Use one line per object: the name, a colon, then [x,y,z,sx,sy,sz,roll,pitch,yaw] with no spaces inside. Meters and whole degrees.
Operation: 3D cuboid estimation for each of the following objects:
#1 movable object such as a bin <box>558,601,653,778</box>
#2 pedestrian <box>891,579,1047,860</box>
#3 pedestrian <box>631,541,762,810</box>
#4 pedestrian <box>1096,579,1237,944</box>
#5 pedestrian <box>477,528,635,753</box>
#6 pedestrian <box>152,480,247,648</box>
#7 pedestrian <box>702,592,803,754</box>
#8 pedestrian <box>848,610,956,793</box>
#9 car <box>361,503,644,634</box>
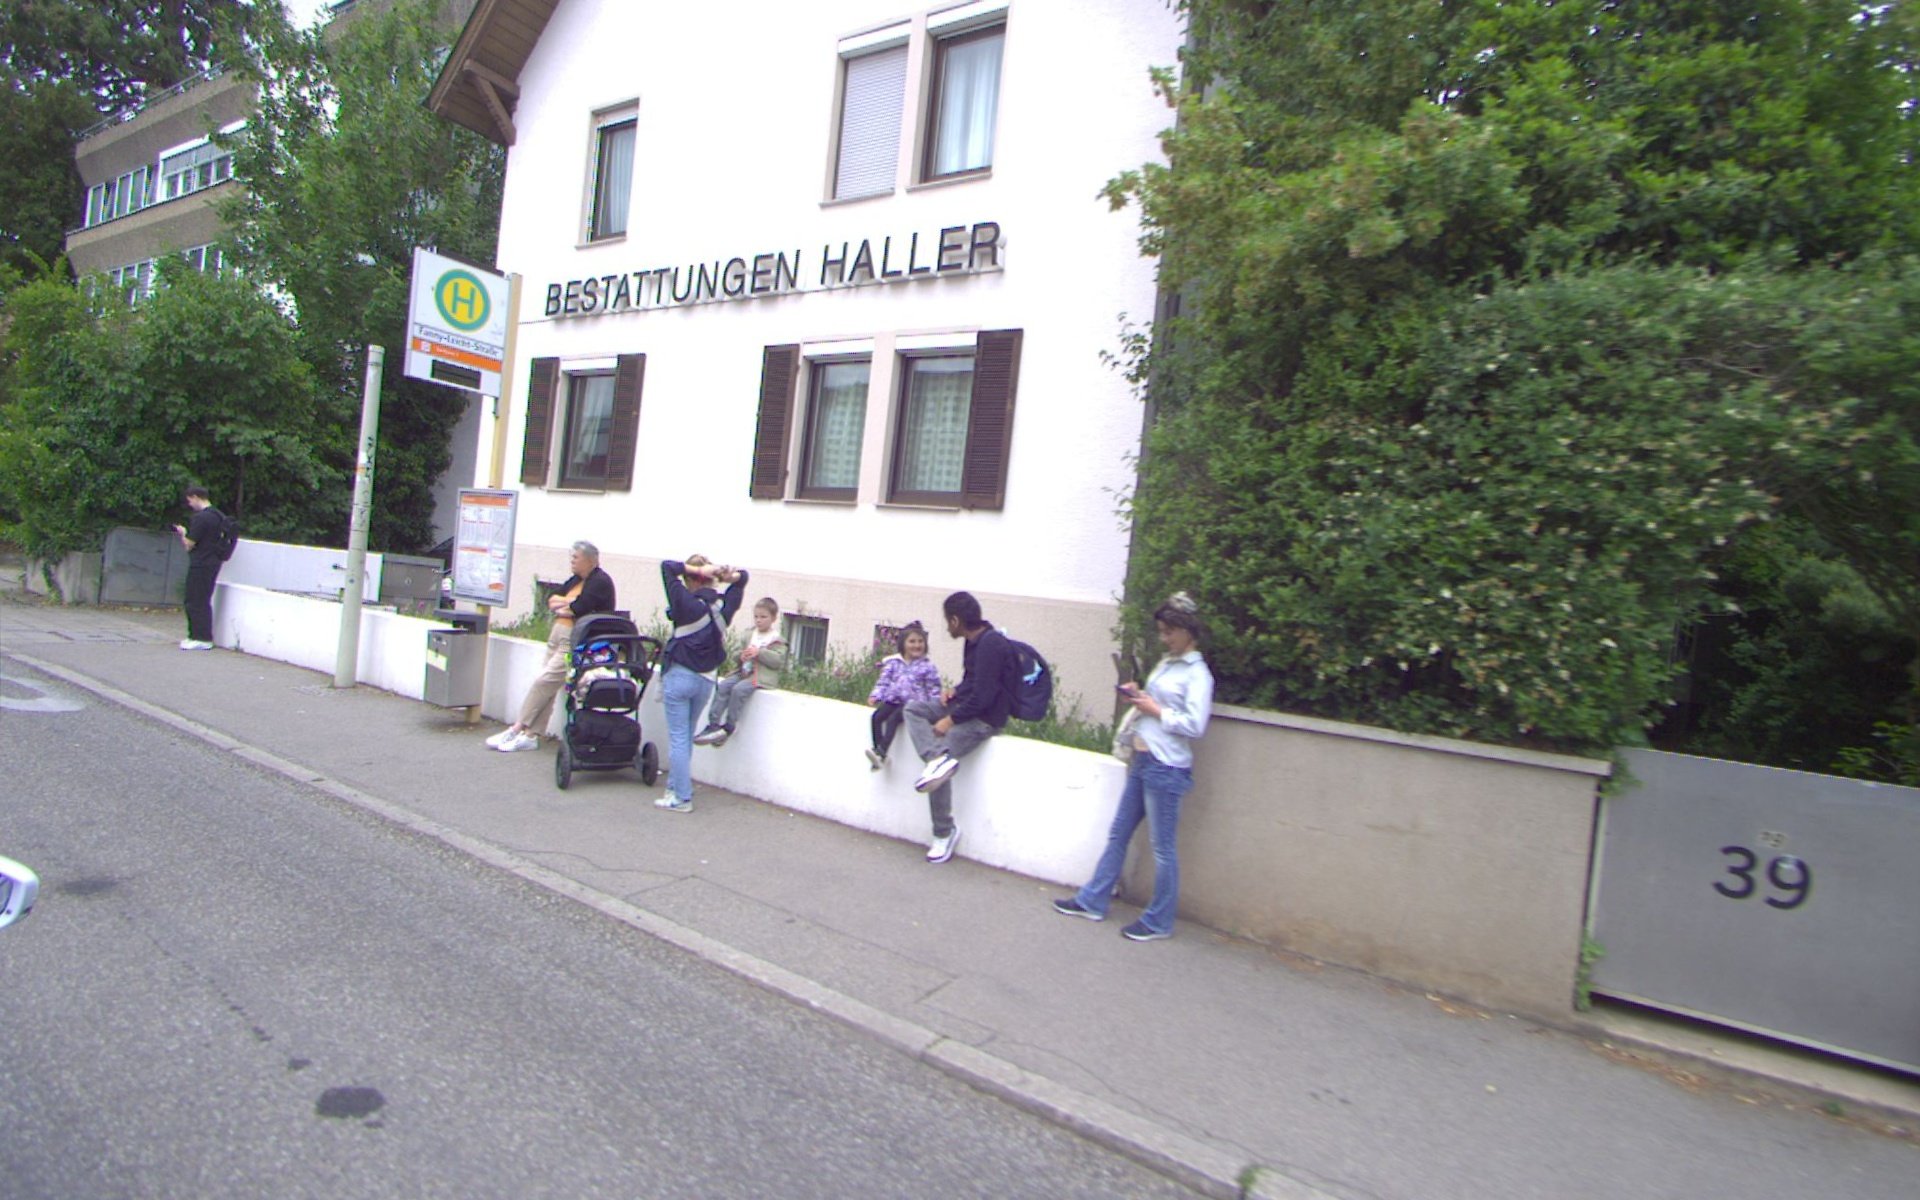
movable object such as a bin: [-2.353,0.576,6.650,0.436,1.073,0.563,3,5,-31]
pedestrian: [0.034,0.642,5.548,0.612,1.448,0.510,4,5,-19]
pedestrian: [-1.594,0.442,6.093,0.356,1.538,0.548,9,5,42]
pedestrian: [0.951,0.711,4.710,0.462,1.578,0.544,5,4,10]
pedestrian: [-2.964,0.283,7.413,0.594,1.520,0.780,7,3,27]
pedestrian: [-8.207,-0.378,10.862,0.521,1.734,0.586,7,3,32]
pedestrian: [-1.350,0.456,6.565,0.376,0.978,0.454,7,5,27]
pedestrian: [-0.336,0.571,5.878,0.376,0.978,0.454,7,5,27]
car: [-7.685,-0.452,17.285,1.856,1.811,3.991,6,1,30]
